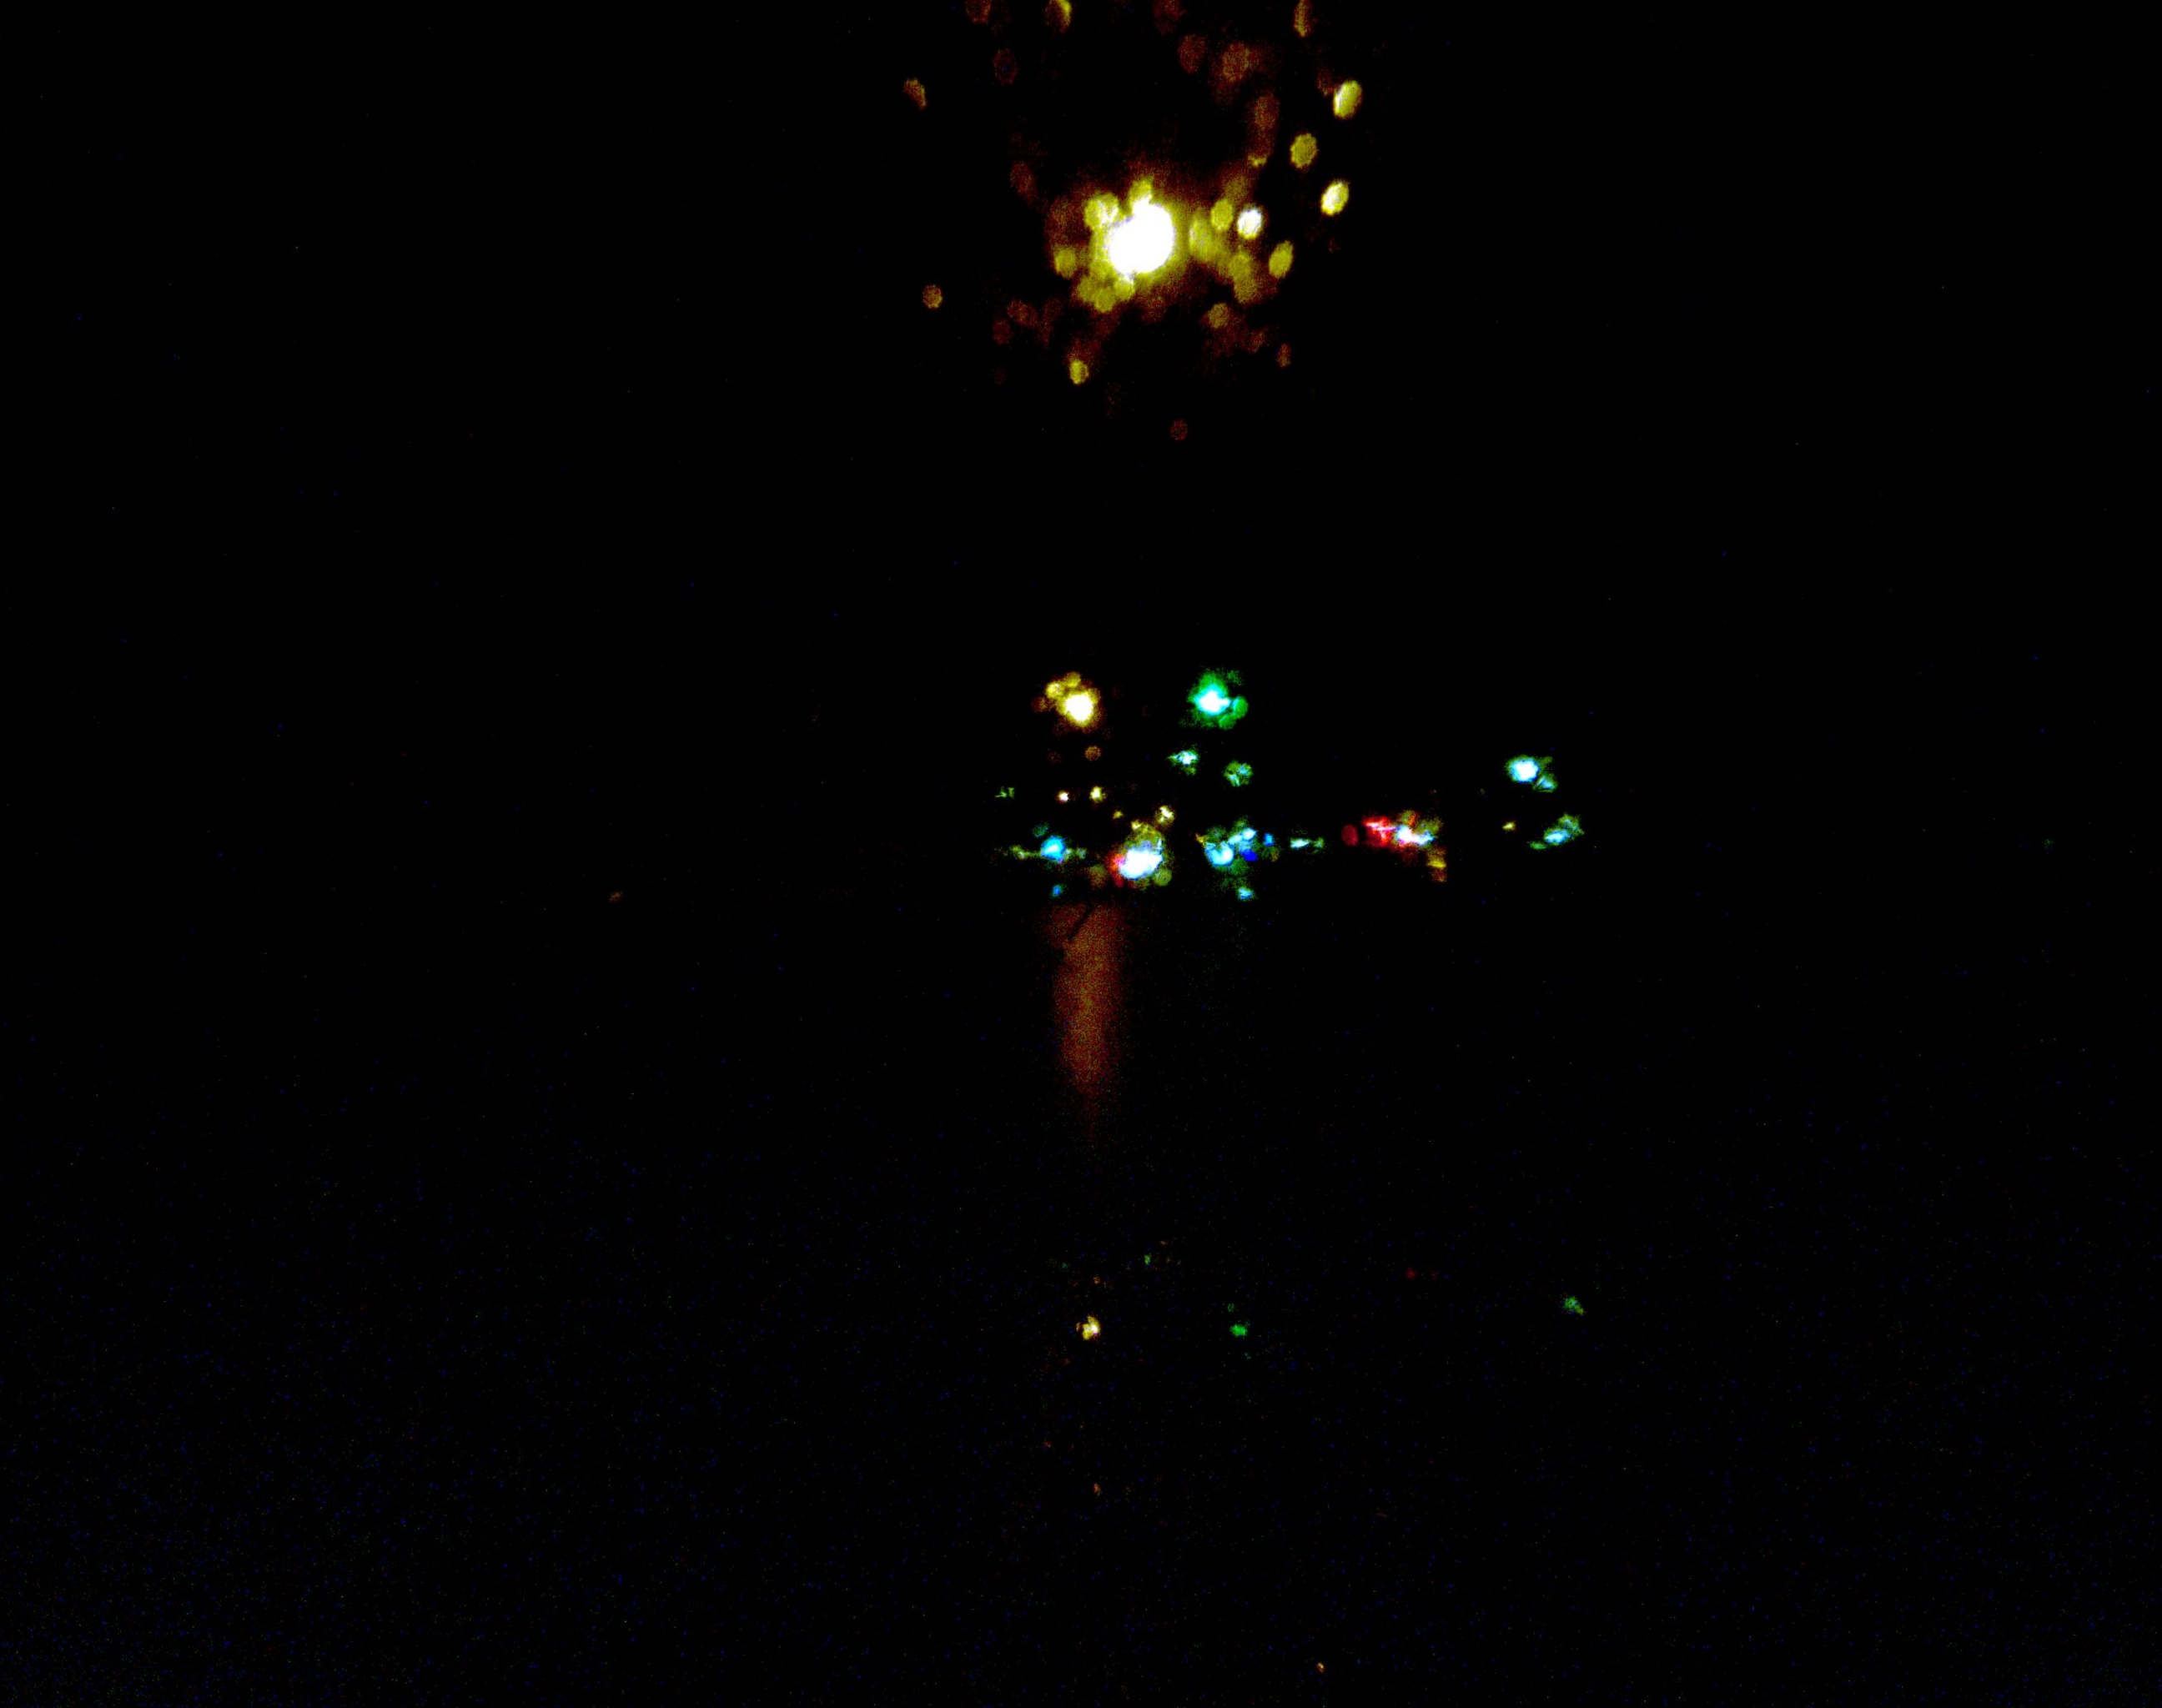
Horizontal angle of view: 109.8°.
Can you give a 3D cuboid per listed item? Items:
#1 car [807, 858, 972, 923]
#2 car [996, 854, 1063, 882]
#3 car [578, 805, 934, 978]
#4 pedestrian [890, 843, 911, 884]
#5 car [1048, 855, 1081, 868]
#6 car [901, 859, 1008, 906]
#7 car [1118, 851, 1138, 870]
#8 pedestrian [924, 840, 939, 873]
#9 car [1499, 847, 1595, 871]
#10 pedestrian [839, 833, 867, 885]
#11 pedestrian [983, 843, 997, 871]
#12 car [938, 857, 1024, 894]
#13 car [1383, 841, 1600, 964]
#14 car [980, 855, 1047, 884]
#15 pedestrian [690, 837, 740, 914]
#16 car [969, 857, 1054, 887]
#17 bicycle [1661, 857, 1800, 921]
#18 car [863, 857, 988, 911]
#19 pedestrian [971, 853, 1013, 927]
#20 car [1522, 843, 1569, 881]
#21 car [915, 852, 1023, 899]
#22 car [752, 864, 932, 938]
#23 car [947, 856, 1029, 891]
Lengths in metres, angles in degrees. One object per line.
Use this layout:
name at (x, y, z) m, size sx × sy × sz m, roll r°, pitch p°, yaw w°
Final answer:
car at (-5.166, 0.918, 20.530) m, size 4.058 × 1.552 × 1.747 m, roll 0°, pitch 1°, yaw -25°
car at (-3.018, 0.814, 44.676) m, size 3.607 × 1.552 × 1.707 m, roll -1°, pitch 1°, yaw -35°
car at (-5.156, 0.483, 12.418) m, size 4.950 × 2.327 × 2.226 m, roll -1°, pitch 1°, yaw -30°
pedestrian at (-8.043, 0.435, 33.847) m, size 0.657 × 1.779 × 0.784 m, roll 1°, pitch -1°, yaw 3°
car at (-1.879, 0.829, 84.603) m, size 1.831 × 1.417 × 4.195 m, roll -1°, pitch 0°, yaw -32°
car at (-4.526, 0.970, 27.299) m, size 3.403 × 1.552 × 1.590 m, roll -1°, pitch 1°, yaw -33°
car at (4.496, 0.573, 72.642) m, size 1.810 × 1.759 × 4.273 m, roll -2°, pitch 0°, yaw 4°
pedestrian at (-7.665, 0.135, 38.945) m, size 0.575 × 1.654 × 0.601 m, roll 1°, pitch -1°, yaw 3°
car at (29.405, 0.291, 48.037) m, size 5.054 × 1.417 × 2.004 m, roll 0°, pitch 0°, yaw 35°
pedestrian at (-8.527, 0.188, 28.442) m, size 0.747 × 1.892 × 0.843 m, roll 1°, pitch -1°, yaw 3°
pedestrian at (-6.287, 0.204, 52.433) m, size 0.806 × 1.894 × 0.885 m, roll 1°, pitch -2°, yaw 3°
car at (-4.420, 0.915, 33.612) m, size 3.403 × 1.552 × 1.634 m, roll -1°, pitch 1°, yaw -33°
car at (6.483, 0.667, 12.611) m, size 1.815 × 1.660 × 4.414 m, roll -1°, pitch 0°, yaw 10°
car at (-3.762, 0.863, 42.428) m, size 3.403 × 1.583 × 1.590 m, roll 1°, pitch 0°, yaw -33°
pedestrian at (-8.981, 0.522, 18.676) m, size 0.747 × 1.829 × 0.843 m, roll 1°, pitch -2°, yaw 3°
car at (-3.571, 0.902, 39.503) m, size 4.122 × 1.483 × 1.590 m, roll 1°, pitch 0°, yaw -34°
bicycle at (12.413, 0.656, 14.589) m, size 1.966 × 1.174 × 0.542 m, roll 0°, pitch 1°, yaw 22°
car at (-4.892, 0.880, 24.009) m, size 3.517 × 1.552 × 1.590 m, roll -1°, pitch 1°, yaw -32°
pedestrian at (-2.181, 0.863, 18.734) m, size 0.824 × 1.760 × 1.178 m, roll -1°, pitch 1°, yaw 3°
car at (22.844, 0.387, 37.491) m, size 1.695 × 1.718 × 4.008 m, roll 1°, pitch 0°, yaw 28°
car at (-4.426, 0.810, 30.035) m, size 3.808 × 1.679 × 1.832 m, roll -2°, pitch 1°, yaw -27°
car at (-5.517, 1.013, 17.583) m, size 3.735 × 1.460 × 1.610 m, roll -1°, pitch 0°, yaw -27°
car at (-4.433, 0.883, 36.203) m, size 3.488 × 1.552 × 1.633 m, roll -1°, pitch 1°, yaw -30°
